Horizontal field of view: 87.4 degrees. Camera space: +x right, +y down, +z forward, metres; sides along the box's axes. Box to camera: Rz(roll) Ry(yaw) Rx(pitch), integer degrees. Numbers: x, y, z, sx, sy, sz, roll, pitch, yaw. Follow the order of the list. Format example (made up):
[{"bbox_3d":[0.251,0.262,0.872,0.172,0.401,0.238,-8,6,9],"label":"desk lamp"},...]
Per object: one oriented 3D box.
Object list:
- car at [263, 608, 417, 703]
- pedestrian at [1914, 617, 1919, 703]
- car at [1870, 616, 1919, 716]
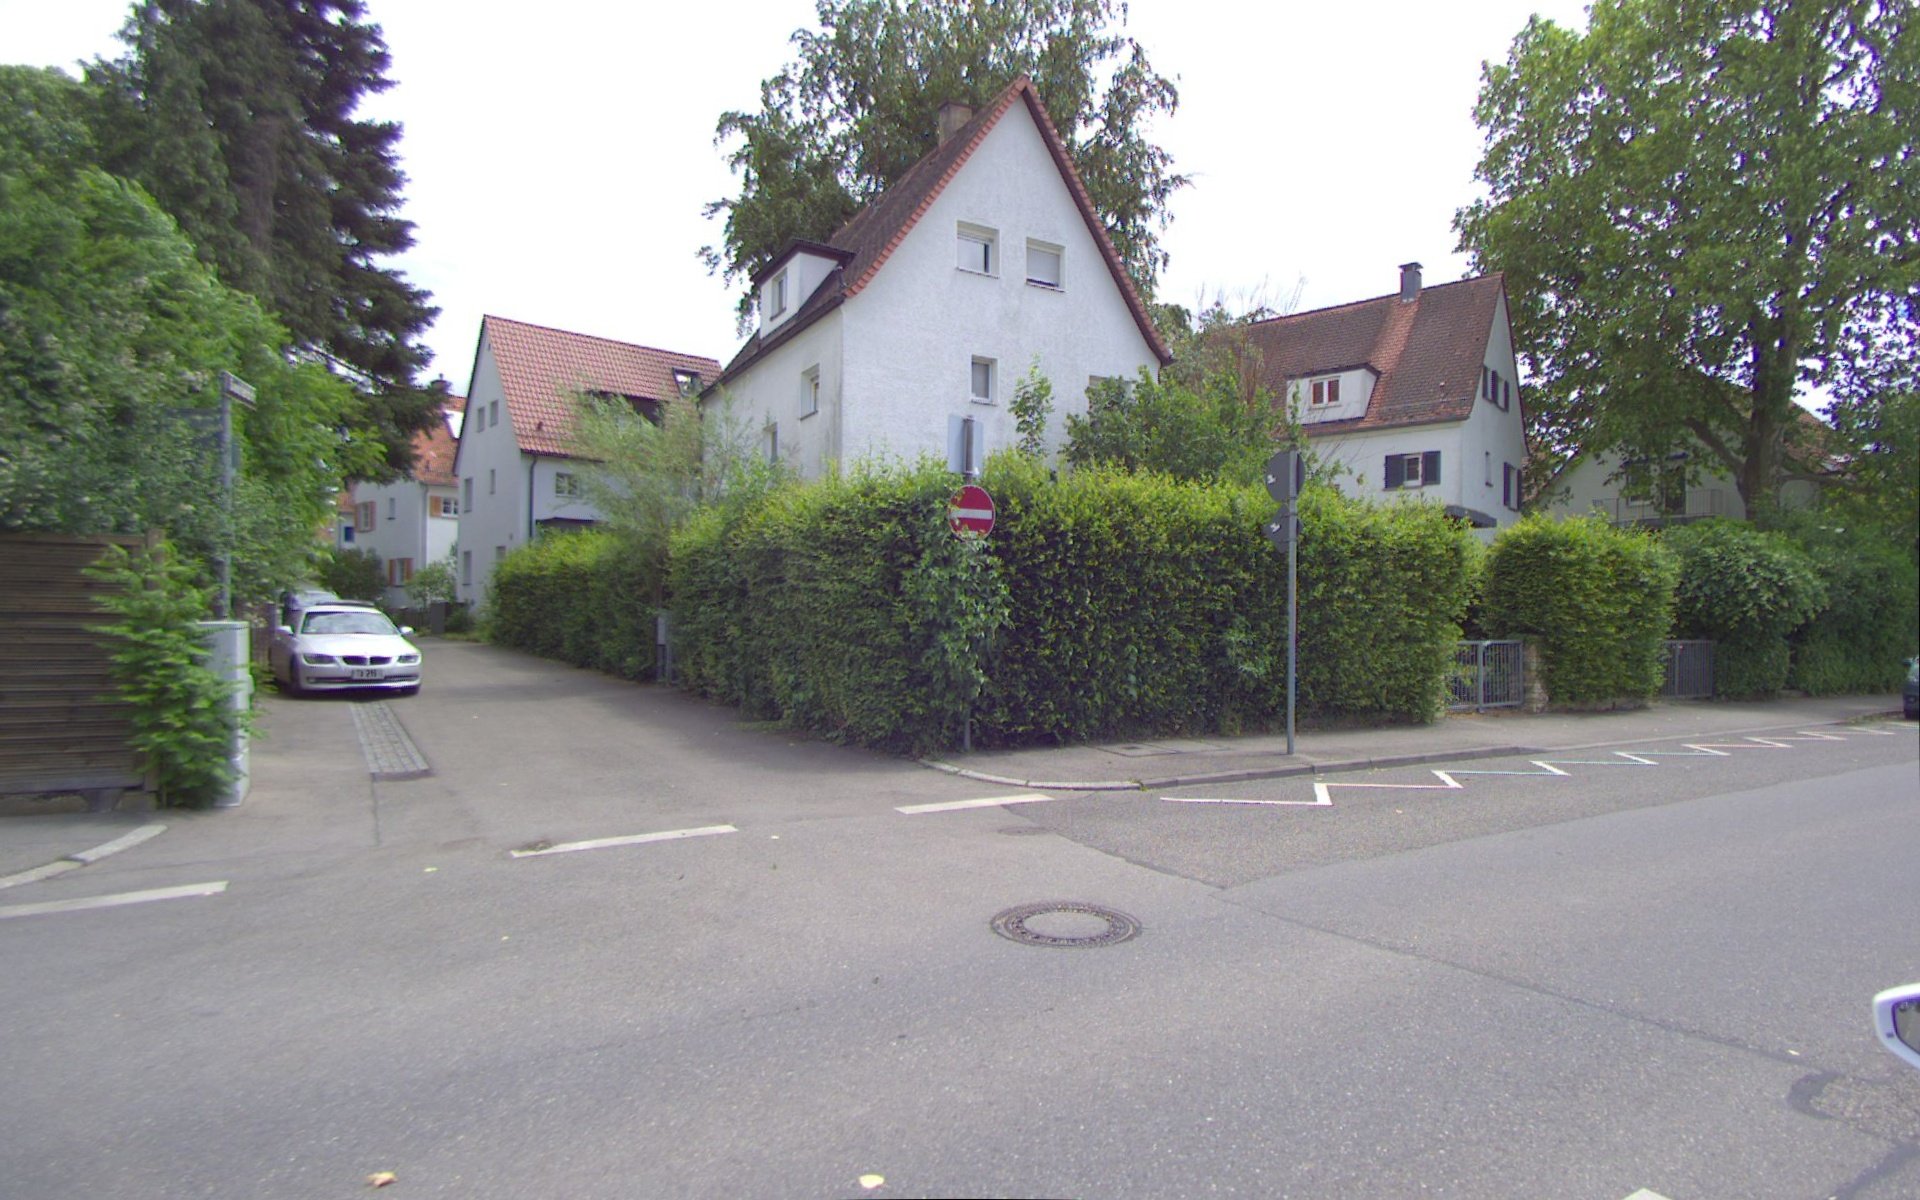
[{"bbox_3d":[-10.349,0.860,16.910,1.977,1.389,3.967,1,-1,-31],"label":"car"},{"bbox_3d":[23.315,1.412,23.750,1.030,2.040,0.866,1,-2,-34],"label":"pedestrian"},{"bbox_3d":[19.436,1.239,19.314,4.424,1.796,2.116,1,1,-38],"label":"car"}]
